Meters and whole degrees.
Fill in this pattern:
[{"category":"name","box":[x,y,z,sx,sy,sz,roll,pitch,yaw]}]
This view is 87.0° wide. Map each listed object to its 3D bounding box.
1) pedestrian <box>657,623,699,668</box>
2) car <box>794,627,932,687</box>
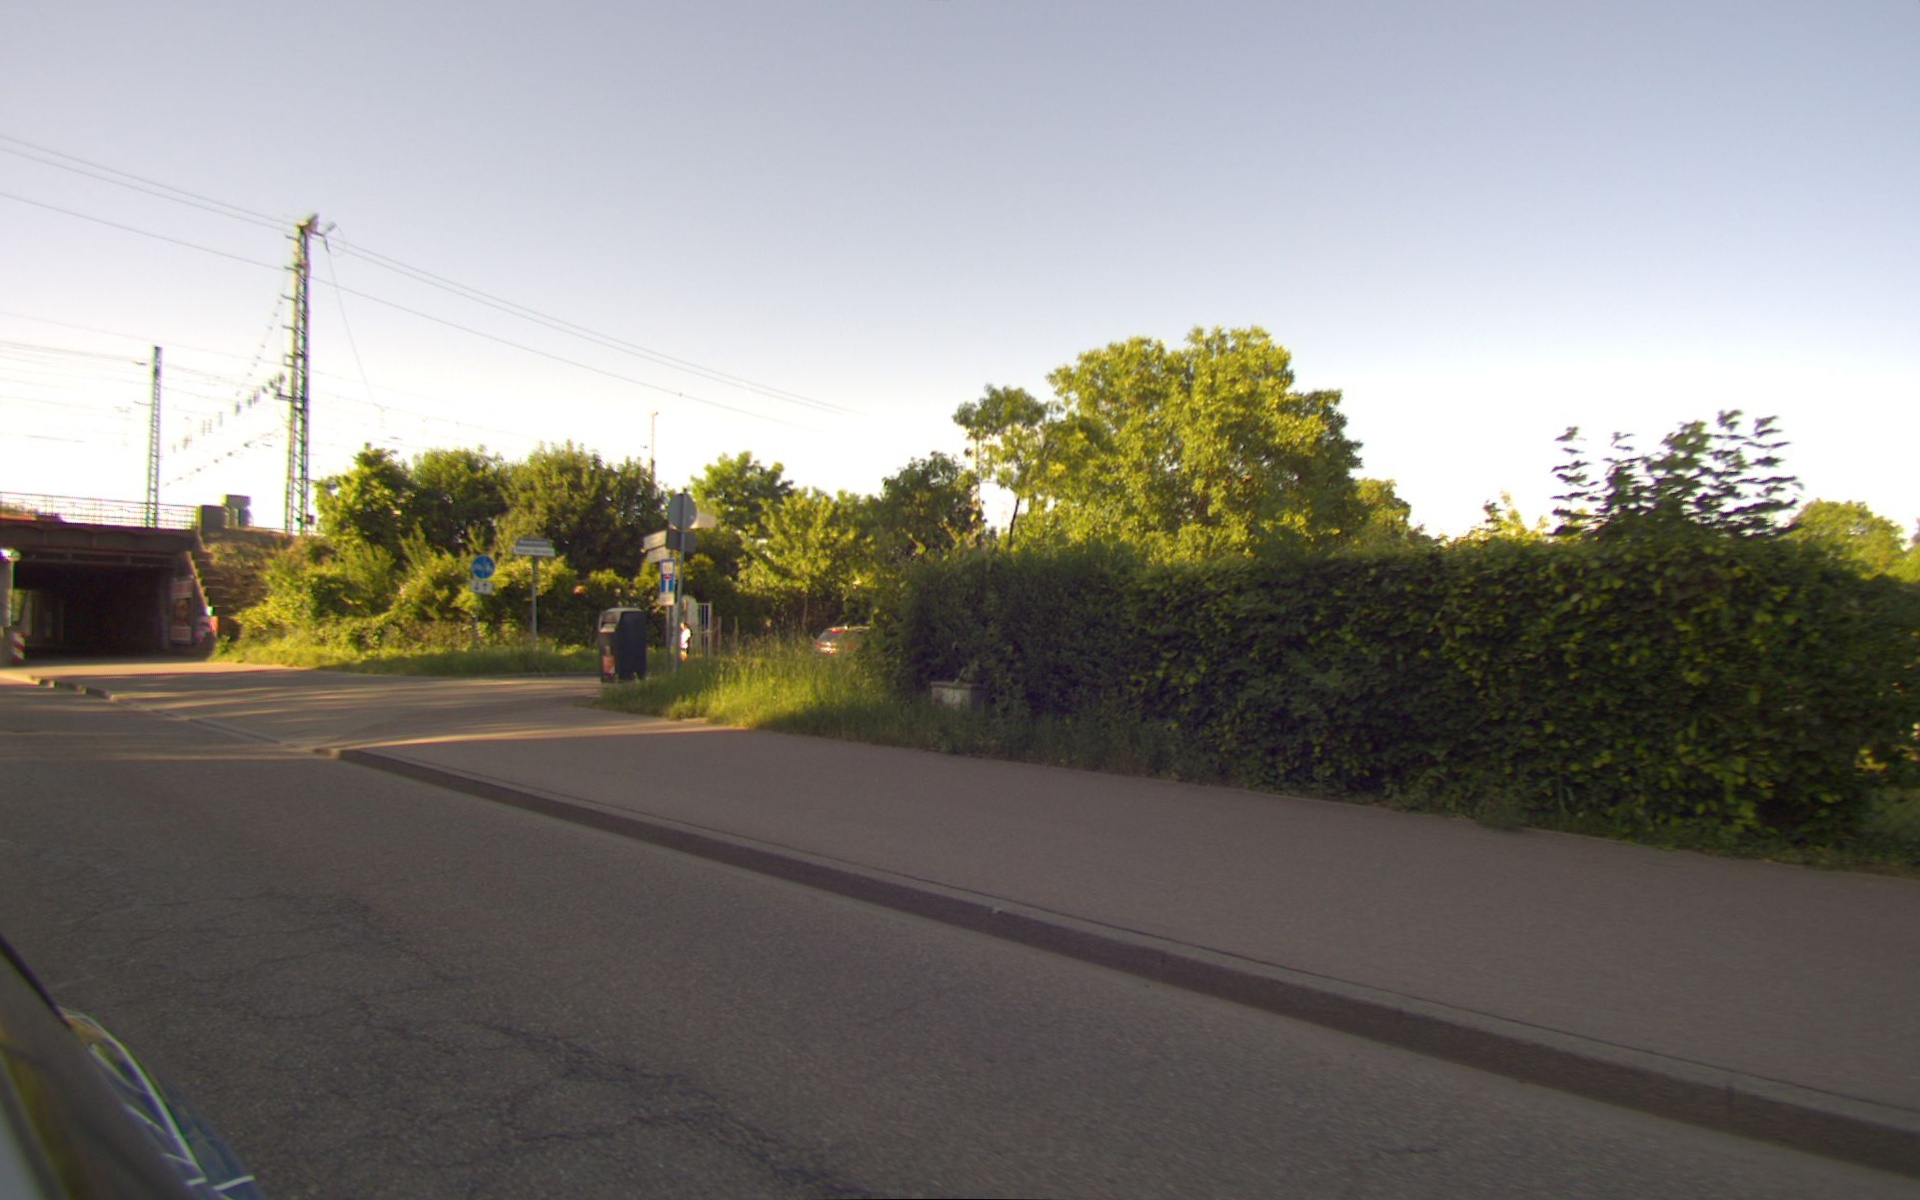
[{"category":"pedestrian","box":[-9.227,1.500,33.125,0.811,1.415,1.009,1,-2,32]},{"category":"car","box":[-2.598,1.511,28.092,1.880,1.459,3.998,1,-1,28]}]
